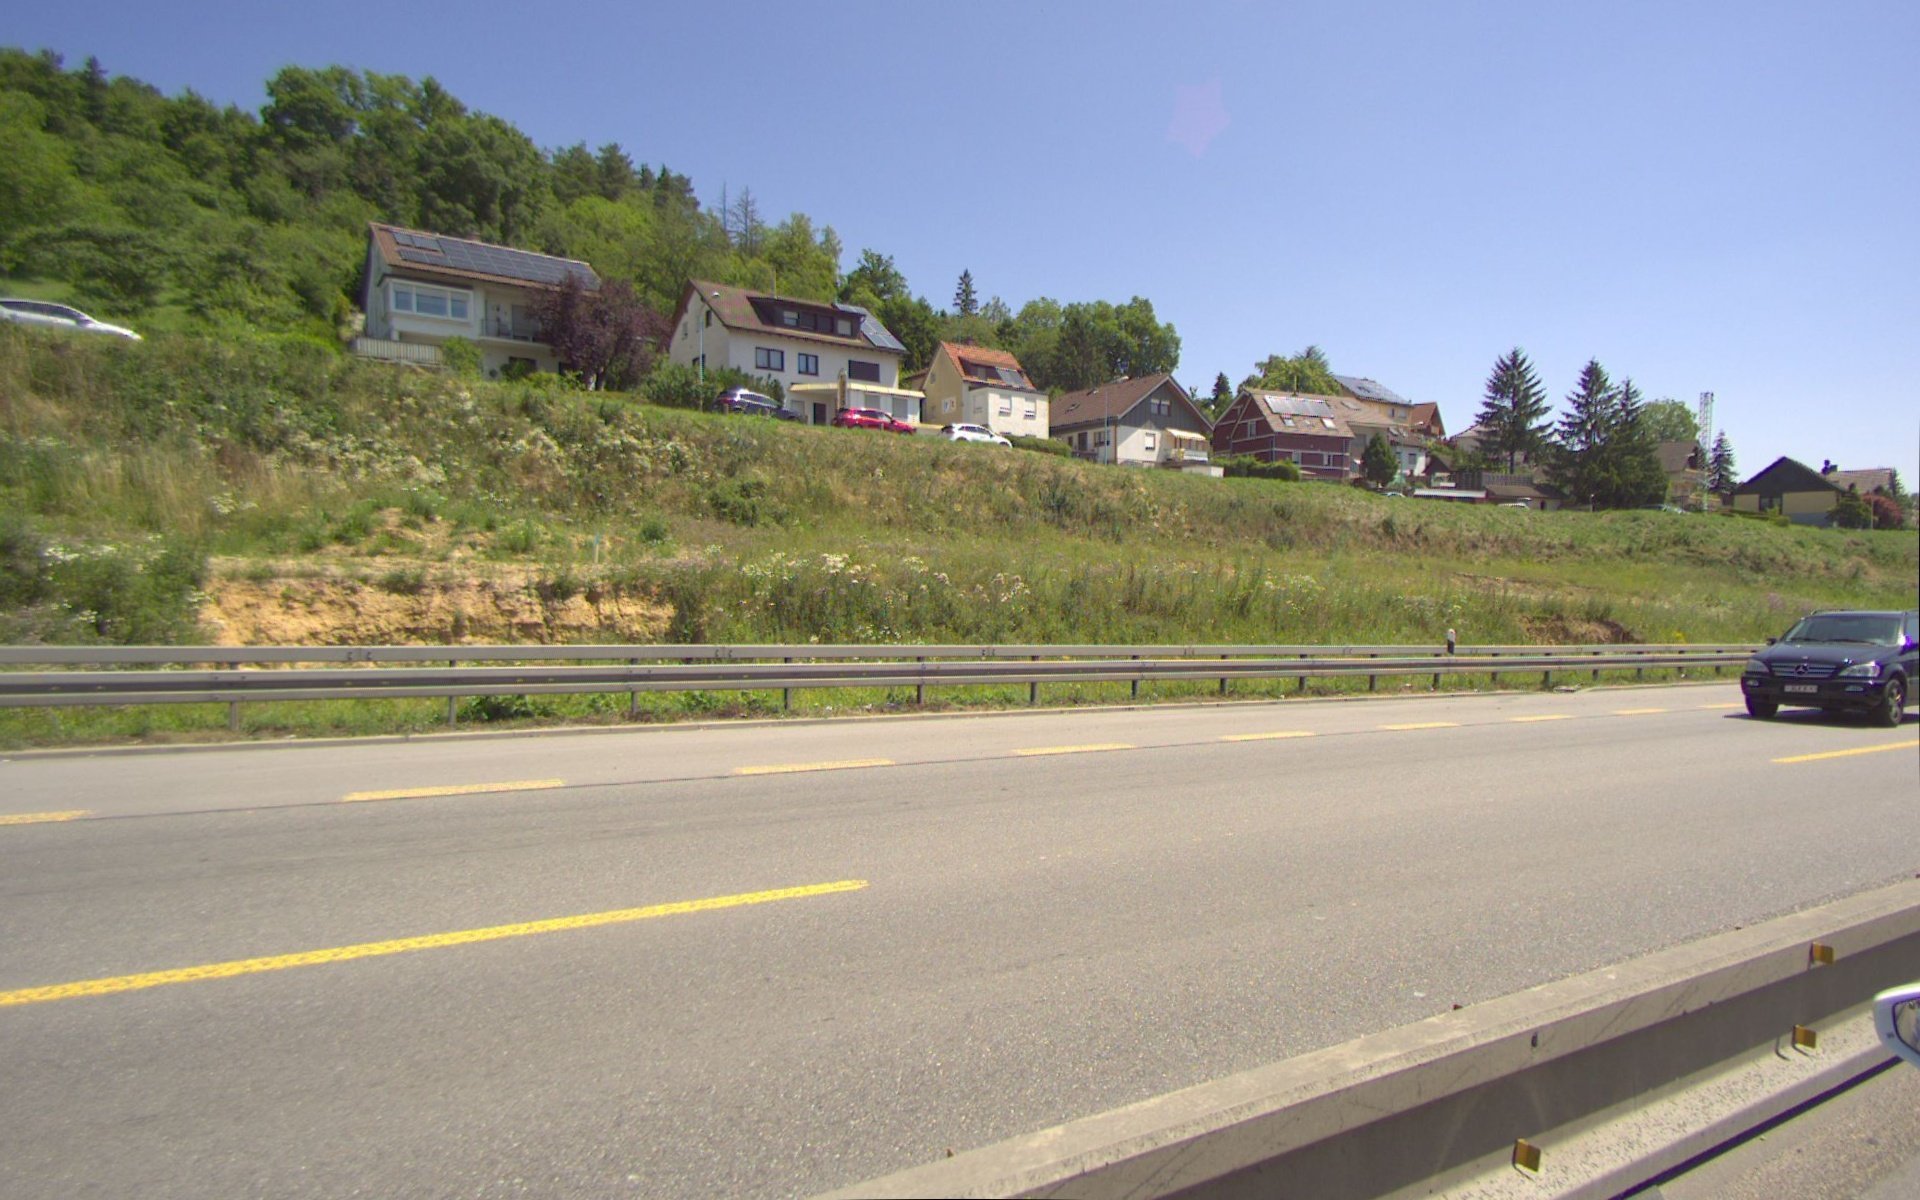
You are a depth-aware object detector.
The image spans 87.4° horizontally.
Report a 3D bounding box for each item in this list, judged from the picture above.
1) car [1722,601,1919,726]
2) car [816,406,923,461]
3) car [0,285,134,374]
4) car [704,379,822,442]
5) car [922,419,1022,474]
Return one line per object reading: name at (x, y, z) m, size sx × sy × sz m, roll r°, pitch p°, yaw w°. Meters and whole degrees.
car at (14.500, 0.963, 16.334) m, size 4.444 × 1.789 × 1.819 m, roll 1°, pitch -1°, yaw -31°
car at (-4.473, -8.195, 49.823) m, size 4.751 × 1.817 × 2.334 m, roll 3°, pitch -1°, yaw -34°
car at (-28.403, -8.454, 31.279) m, size 3.963 × 1.817 × 1.979 m, roll 3°, pitch -1°, yaw -37°
car at (-8.816, -8.432, 45.138) m, size 4.720 × 1.817 × 2.162 m, roll 3°, pitch -1°, yaw -37°
car at (0.656, -8.108, 53.375) m, size 4.768 × 2.068 × 2.334 m, roll 3°, pitch -1°, yaw -33°
